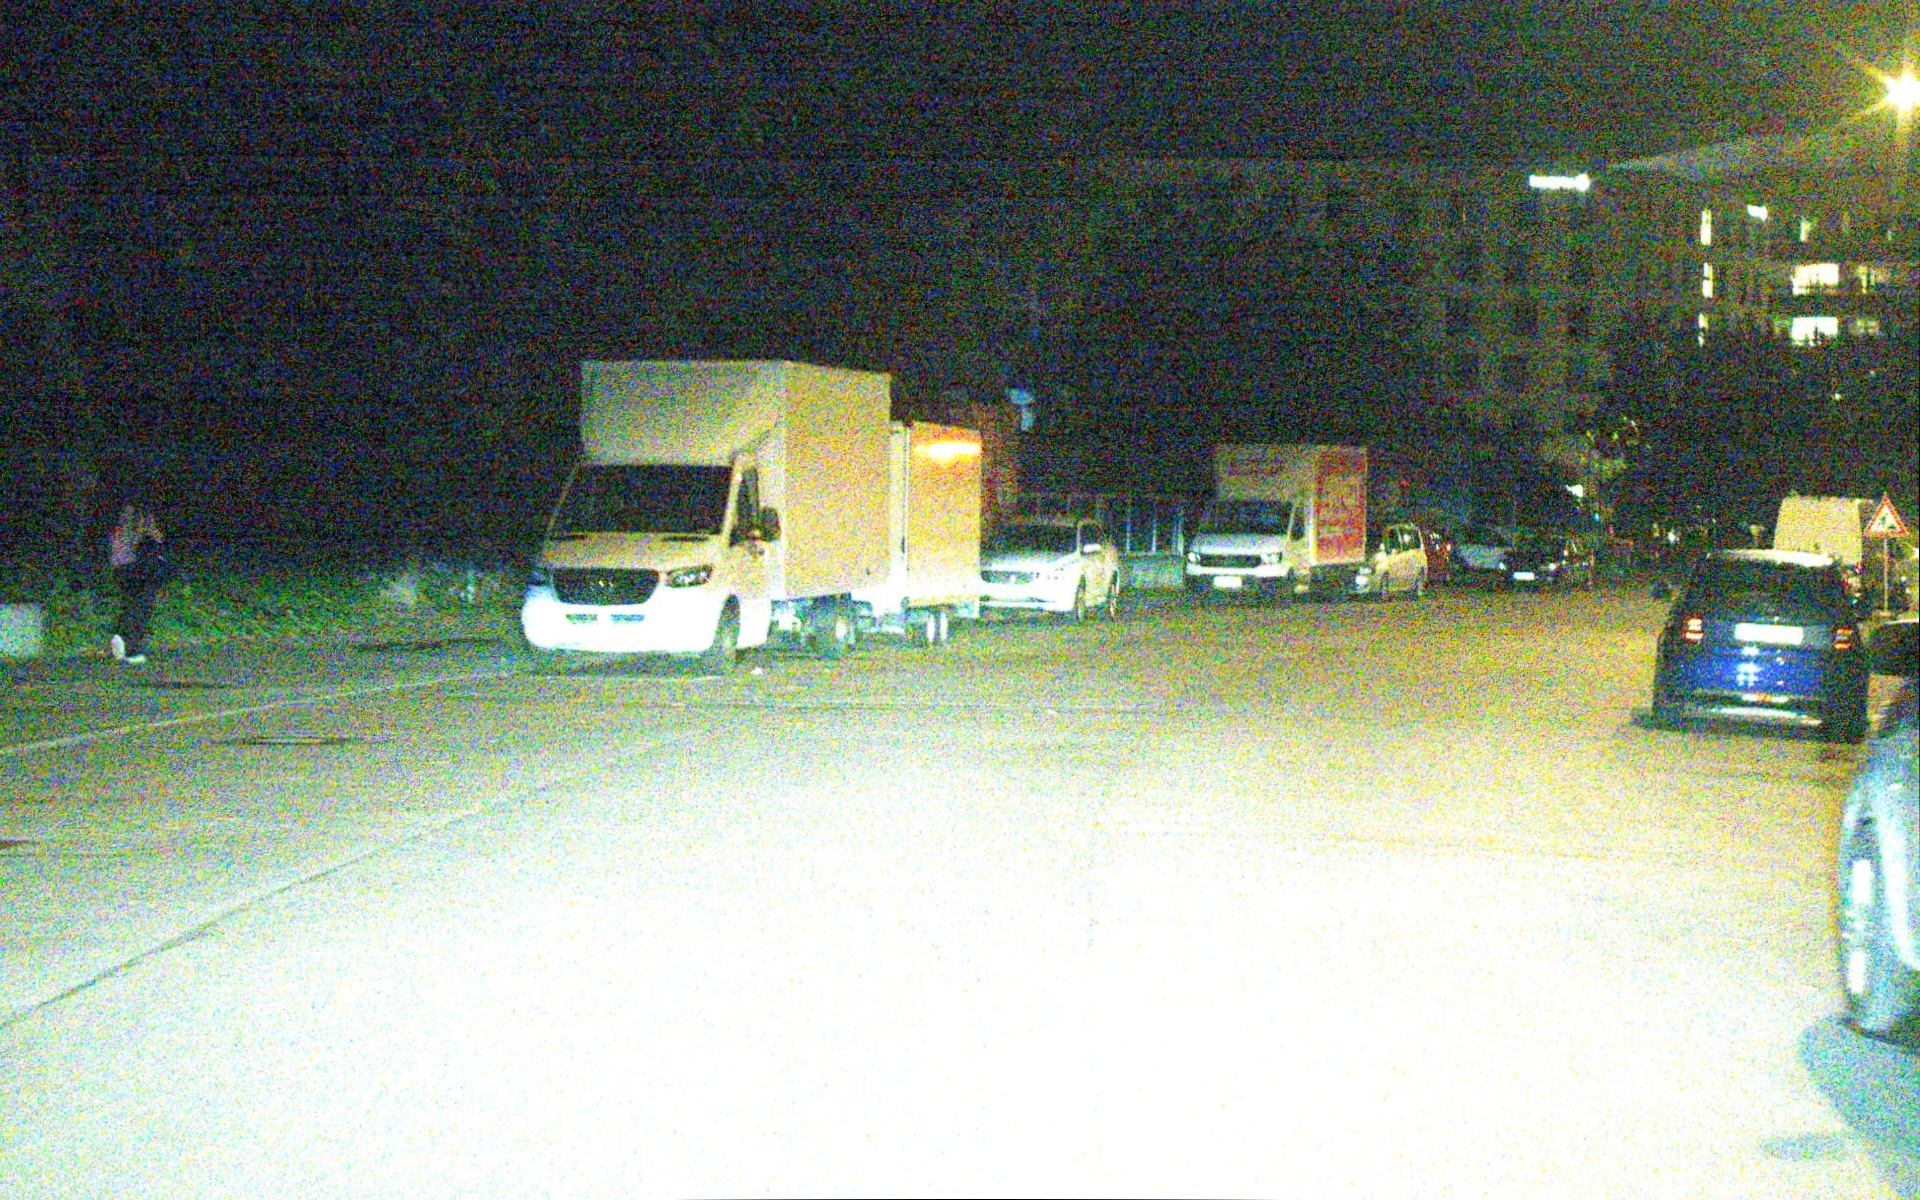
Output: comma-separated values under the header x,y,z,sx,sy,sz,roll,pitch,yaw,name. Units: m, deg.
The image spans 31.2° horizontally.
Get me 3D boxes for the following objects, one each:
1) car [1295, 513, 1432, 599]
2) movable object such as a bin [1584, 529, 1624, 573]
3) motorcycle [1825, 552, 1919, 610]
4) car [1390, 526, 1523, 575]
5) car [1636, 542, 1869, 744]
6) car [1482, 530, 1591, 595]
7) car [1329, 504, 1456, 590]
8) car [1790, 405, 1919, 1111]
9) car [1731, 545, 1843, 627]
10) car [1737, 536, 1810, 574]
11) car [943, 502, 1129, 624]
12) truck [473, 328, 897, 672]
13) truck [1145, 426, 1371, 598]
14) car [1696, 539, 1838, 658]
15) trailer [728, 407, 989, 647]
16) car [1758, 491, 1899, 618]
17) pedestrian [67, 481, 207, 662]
x,y,z,sx,sy,sz,roll,pitch,yaw,name
8.912,-0.980,75.600,1.831,1.810,4.833,1,1,21,car
22.187,-1.686,118.372,1.165,1.490,1.064,1,1,20,movable object such as a bin
20.555,-0.434,77.124,0.766,1.179,2.185,1,2,-36,motorcycle
16.380,-1.640,113.355,3.992,1.565,1.815,1,1,23,car
6.705,0.310,29.380,1.609,1.506,3.824,4,2,9,car
15.531,-0.996,92.424,1.757,1.521,4.316,4,1,24,car
12.126,-1.472,96.040,1.996,2.313,4.959,0,1,26,car
3.697,0.481,8.994,1.994,2.007,5.354,1,1,3,car
16.169,-0.295,67.059,1.712,1.503,4.636,2,1,18,car
30.636,-1.701,129.392,1.913,1.399,4.332,1,1,23,car
1.241,-0.597,53.571,1.995,1.766,4.690,1,1,12,car
-2.699,-1.025,36.262,2.374,3.232,7.228,1,1,13,truck
6.104,-1.748,69.369,2.546,3.269,7.304,2,1,21,truck
11.105,-0.060,47.487,1.711,1.503,3.998,2,1,11,car
-1.187,-0.909,42.825,2.206,2.786,4.614,1,1,11,trailer
18.549,-0.972,73.193,2.023,2.518,6.045,3,2,22,car
-7.714,-0.274,32.238,0.779,1.665,1.004,1,1,38,pedestrian
